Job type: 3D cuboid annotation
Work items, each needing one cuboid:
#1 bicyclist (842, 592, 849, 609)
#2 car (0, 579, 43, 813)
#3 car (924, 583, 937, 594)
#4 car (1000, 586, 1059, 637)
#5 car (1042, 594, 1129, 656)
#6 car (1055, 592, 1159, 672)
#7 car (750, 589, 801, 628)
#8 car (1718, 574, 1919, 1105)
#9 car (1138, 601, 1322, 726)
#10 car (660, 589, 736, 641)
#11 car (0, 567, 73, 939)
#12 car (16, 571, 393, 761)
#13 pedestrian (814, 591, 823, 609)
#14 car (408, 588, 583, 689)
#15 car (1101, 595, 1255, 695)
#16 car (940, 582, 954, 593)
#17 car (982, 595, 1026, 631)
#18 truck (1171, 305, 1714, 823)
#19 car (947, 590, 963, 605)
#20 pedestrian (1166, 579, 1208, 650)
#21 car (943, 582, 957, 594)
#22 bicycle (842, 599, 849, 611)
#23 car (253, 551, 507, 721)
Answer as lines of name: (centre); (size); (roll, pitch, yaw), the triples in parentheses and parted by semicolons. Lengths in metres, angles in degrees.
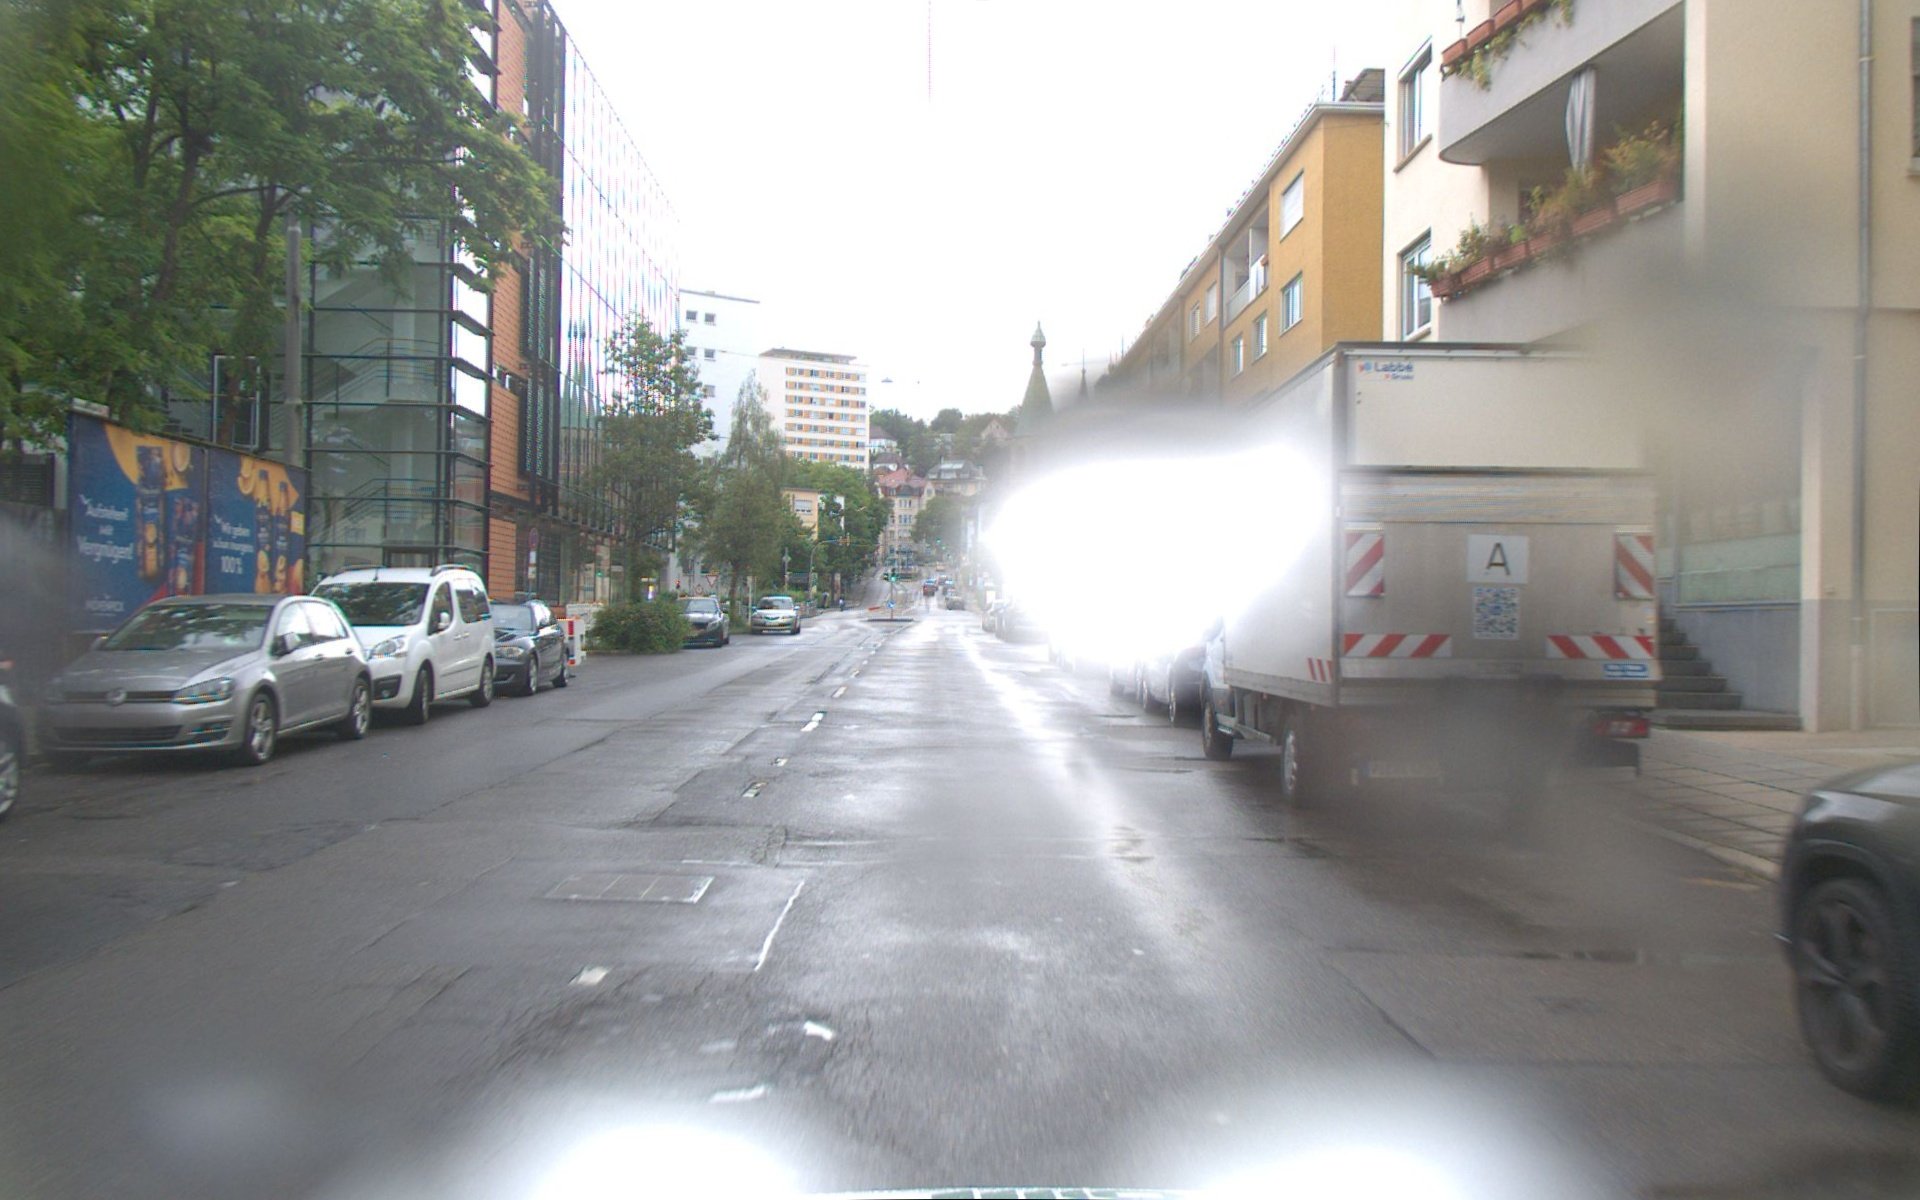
bicyclist: (-11.168, 0.049, 161.432); (0.663, 1.690, 0.649); (1, -1, -4)
car: (-6.606, 0.577, 8.563); (1.648, 1.423, 3.908); (0, -1, -2)
car: (-4.331, -1.761, 244.386); (1.870, 1.537, 3.999); (1, 0, -2)
car: (2.461, 0.404, 59.560); (1.781, 1.681, 4.074); (2, 0, -2)
car: (2.985, 0.585, 39.926); (1.630, 1.424, 3.919); (0, 0, -3)
car: (2.960, 0.635, 34.039); (1.630, 1.528, 3.919); (0, 0, -3)
car: (-7.192, 0.332, 64.844); (1.675, 1.476, 4.292); (0, -1, -2)
car: (3.730, 0.730, 4.233); (1.629, 1.601, 4.097); (1, 0, -1)
car: (3.374, 0.745, 21.341); (1.629, 1.446, 4.041); (1, 0, -1)
car: (-7.776, 0.463, 49.441); (1.767, 1.476, 4.654); (0, -1, -3)
car: (-5.217, 0.576, 4.983); (1.768, 1.440, 4.383); (0, 0, 21)
car: (-6.711, 0.544, 15.237); (1.648, 1.488, 4.275); (0, -1, -2)
pedestrian: (-14.912, 0.001, 174.571); (0.870, 1.926, 0.921); (0, 0, -7)
car: (-6.996, 0.564, 25.326); (1.689, 1.400, 4.340); (0, -1, -4)
car: (3.357, 0.700, 26.119); (1.631, 1.446, 3.917); (1, -1, -4)
car: (-1.960, -1.809, 246.999); (1.870, 1.536, 3.999); (2, 0, -2)
car: (2.037, 0.588, 76.966); (1.781, 1.549, 4.074); (2, 0, -2)
truck: (3.490, -0.205, 13.908); (2.419, 3.228, 7.034); (1, 0, -1)
car: (-0.568, -0.268, 194.434); (1.696, 1.682, 4.001); (1, 0, 2)
pedestrian: (5.812, 0.375, 42.388); (0.753, 1.762, 0.741); (-1, 2, 37)
car: (-1.375, -1.636, 230.753); (1.854, 1.536, 3.999); (2, 0, -2)
bicycle: (-11.170, 0.503, 161.411); (0.663, 1.127, 1.798); (1, -1, -4)
car: (-6.892, 0.408, 20.132); (1.689, 1.832, 4.342); (0, -1, -2)
